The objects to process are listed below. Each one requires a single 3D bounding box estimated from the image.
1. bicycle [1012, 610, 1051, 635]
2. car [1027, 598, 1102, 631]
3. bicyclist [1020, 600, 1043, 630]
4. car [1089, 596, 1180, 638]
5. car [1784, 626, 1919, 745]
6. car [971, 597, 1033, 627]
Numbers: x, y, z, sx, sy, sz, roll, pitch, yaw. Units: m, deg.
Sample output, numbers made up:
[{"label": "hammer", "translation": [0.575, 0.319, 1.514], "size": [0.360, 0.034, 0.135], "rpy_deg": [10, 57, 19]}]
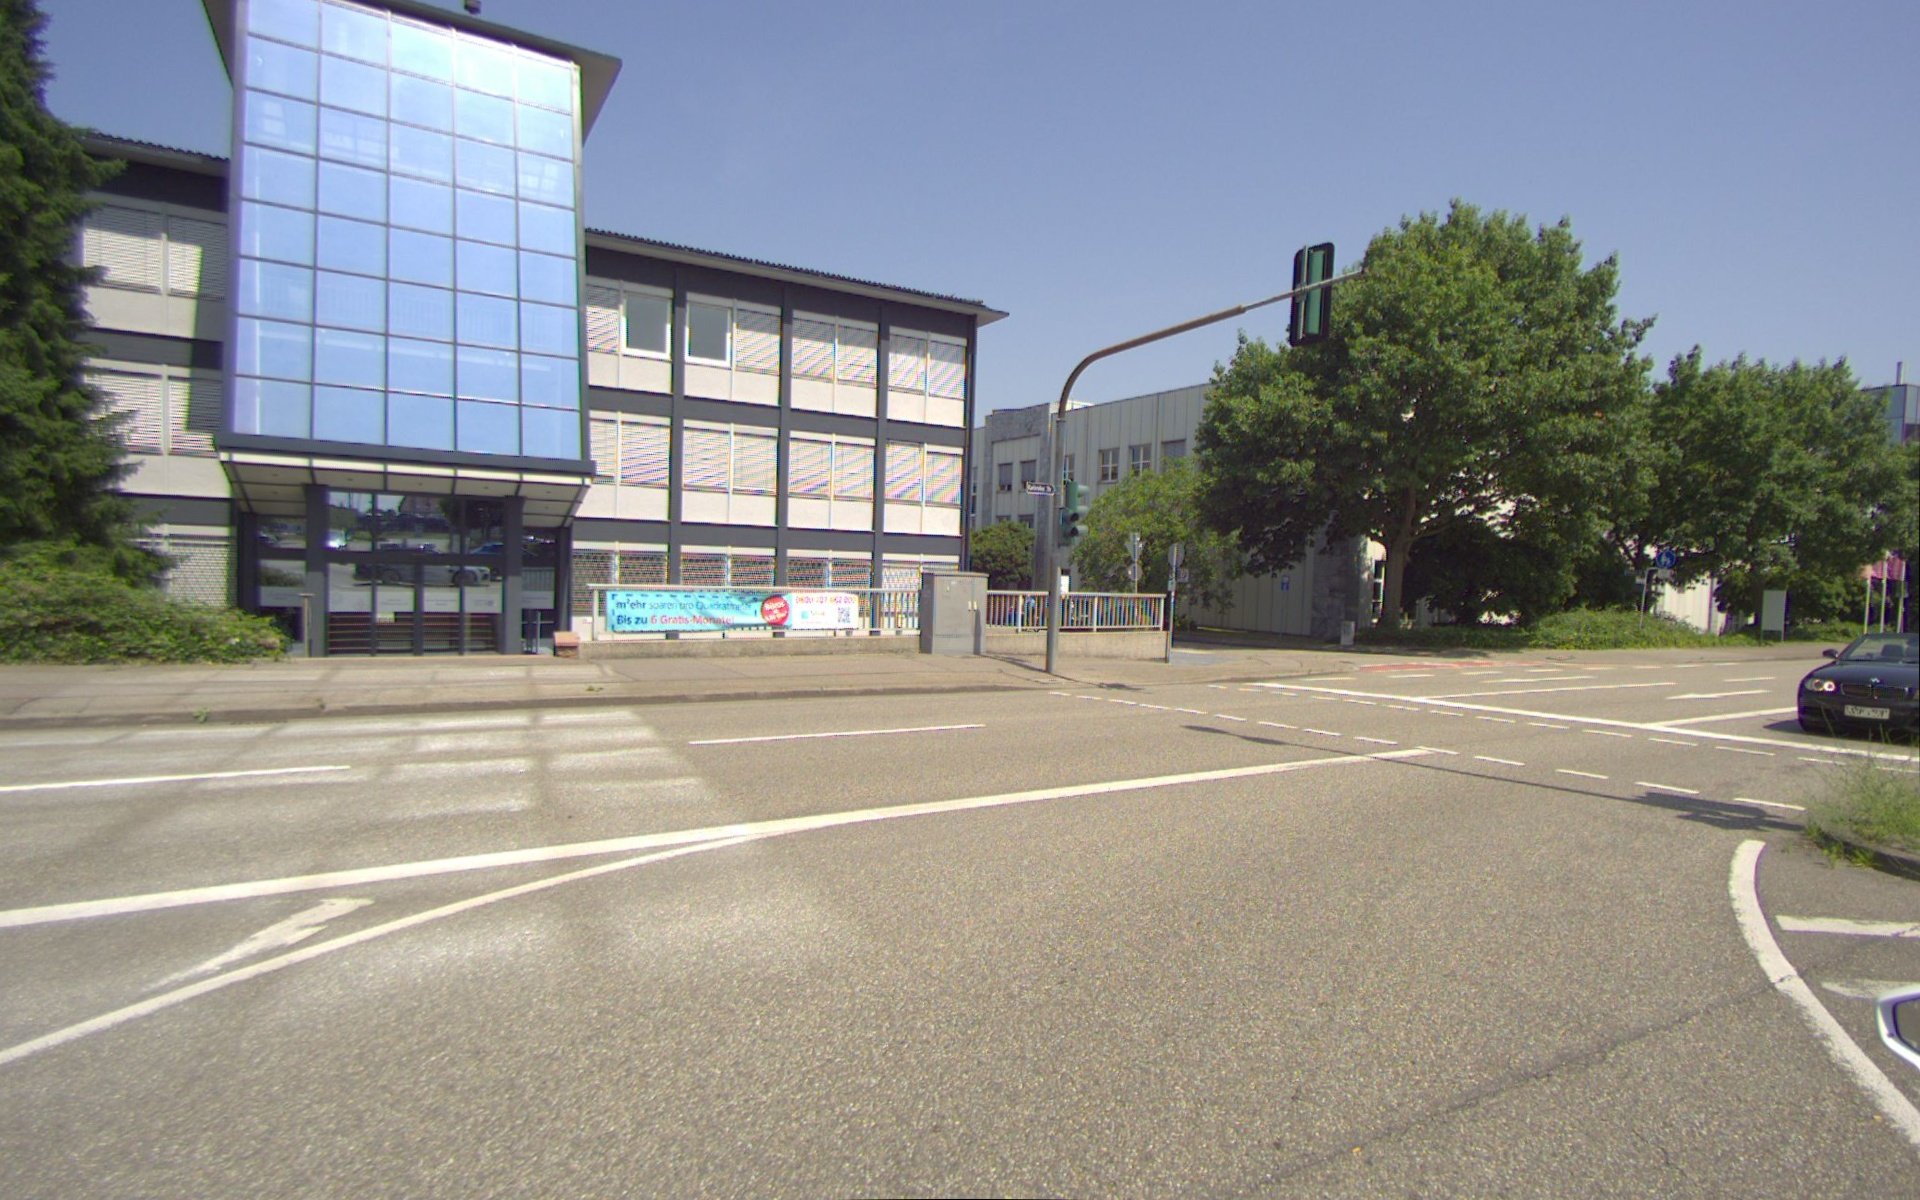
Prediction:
[{"label": "bicycle", "translation": [3.458, 1.084, 48.890], "size": [0.774, 1.128, 2.164], "rpy_deg": [1, 0, -30]}, {"label": "car", "translation": [5.293, 0.720, 51.191], "size": [1.697, 1.550, 3.965], "rpy_deg": [1, 0, -32]}, {"label": "bicyclist", "translation": [3.465, 0.714, 48.883], "size": [0.736, 1.429, 0.853], "rpy_deg": [1, 0, -31]}, {"label": "car", "translation": [7.910, 0.760, 45.819], "size": [1.898, 1.617, 3.965], "rpy_deg": [1, 3, -31]}, {"label": "car", "translation": [12.757, 1.067, 13.380], "size": [4.108, 1.341, 1.717], "rpy_deg": [1, 1, -35]}, {"label": "car", "translation": [2.296, 0.645, 56.042], "size": [1.697, 1.550, 3.630], "rpy_deg": [1, 0, -32]}]
